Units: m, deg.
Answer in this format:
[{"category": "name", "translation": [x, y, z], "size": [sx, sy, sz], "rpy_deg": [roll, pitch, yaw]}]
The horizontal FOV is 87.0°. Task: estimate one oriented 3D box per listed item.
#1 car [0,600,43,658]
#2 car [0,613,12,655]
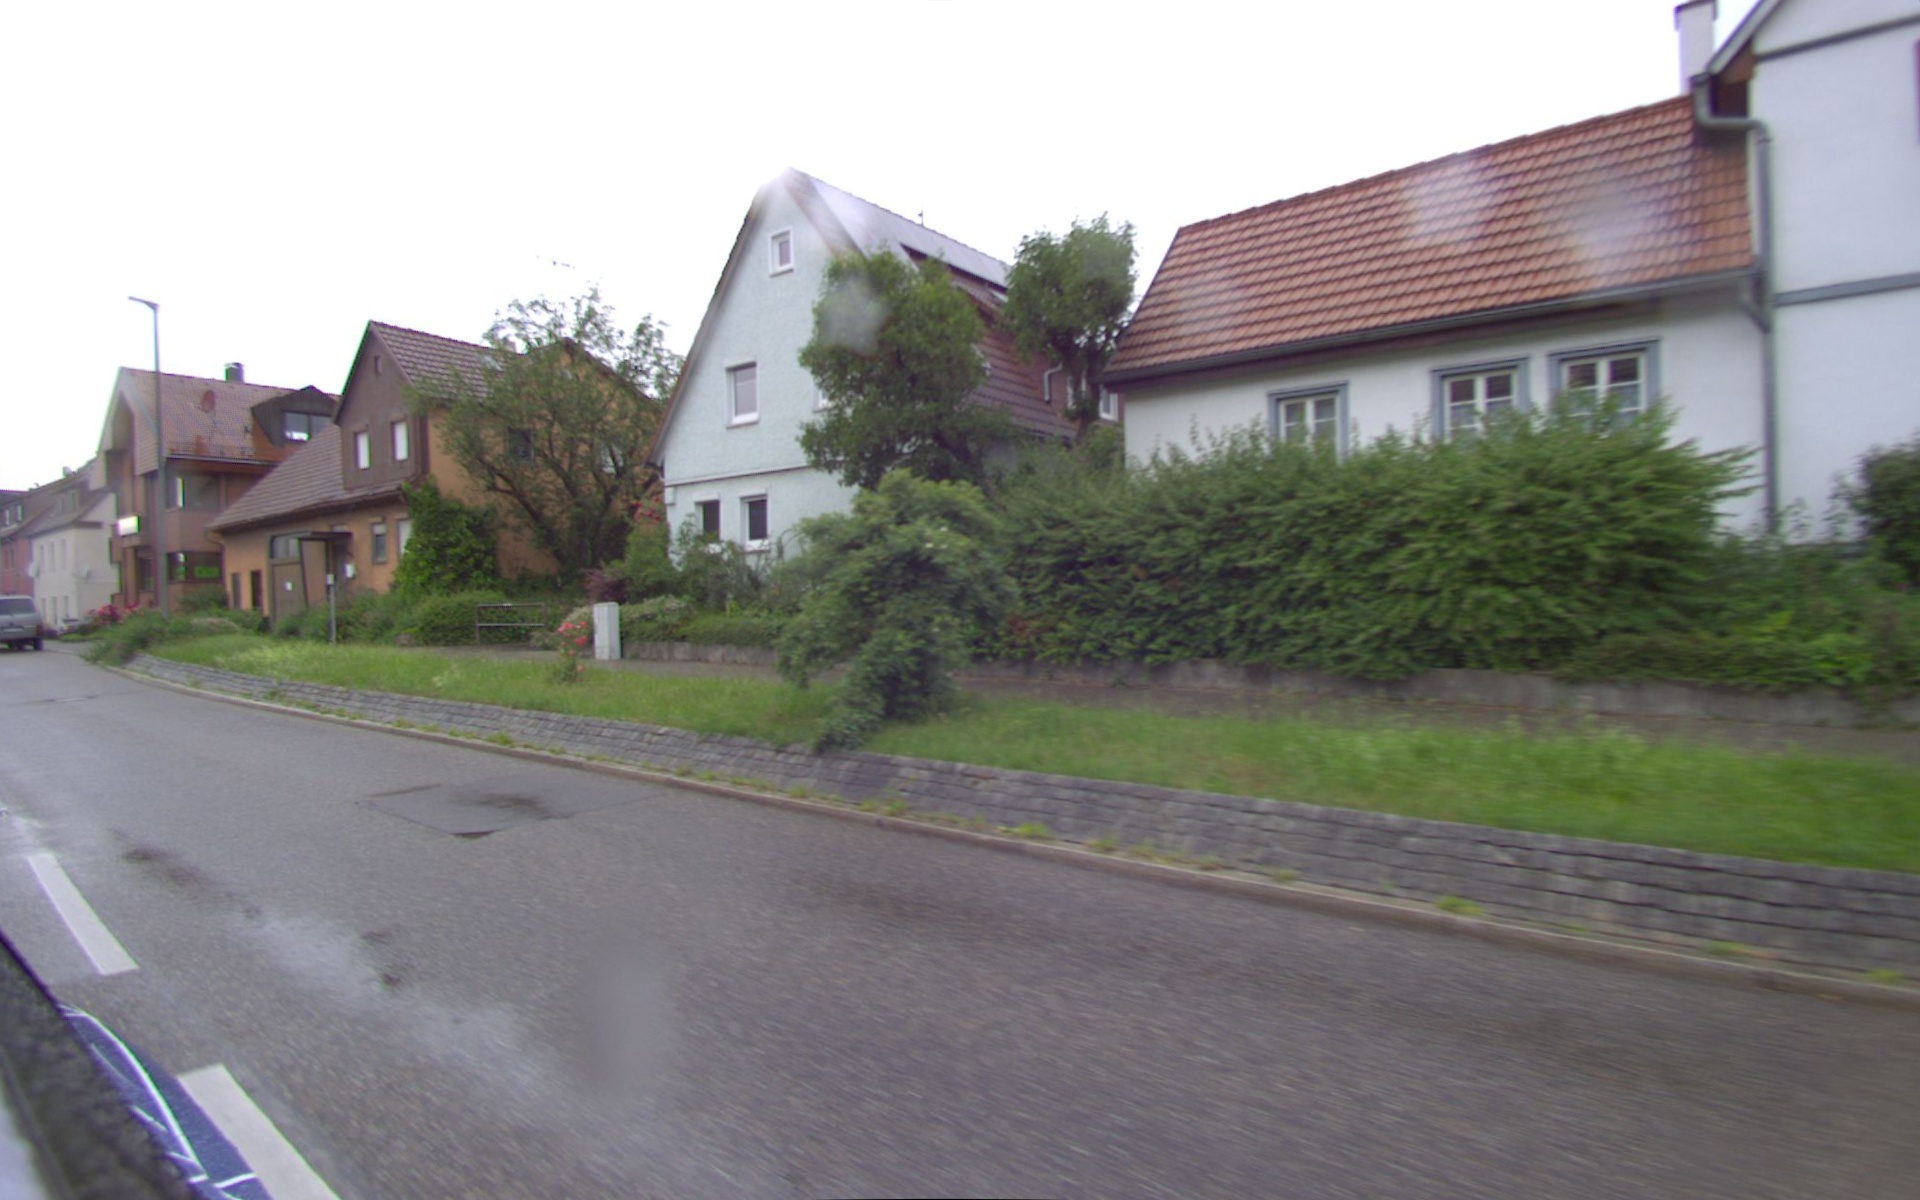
[{"category": "car", "translation": [-34.704, 1.065, 36.312], "size": [4.183, 1.937, 1.825], "rpy_deg": [-1, 2, 37]}, {"category": "car", "translation": [-38.585, 1.366, 39.415], "size": [3.658, 1.586, 1.791], "rpy_deg": [-1, 1, 37]}]
